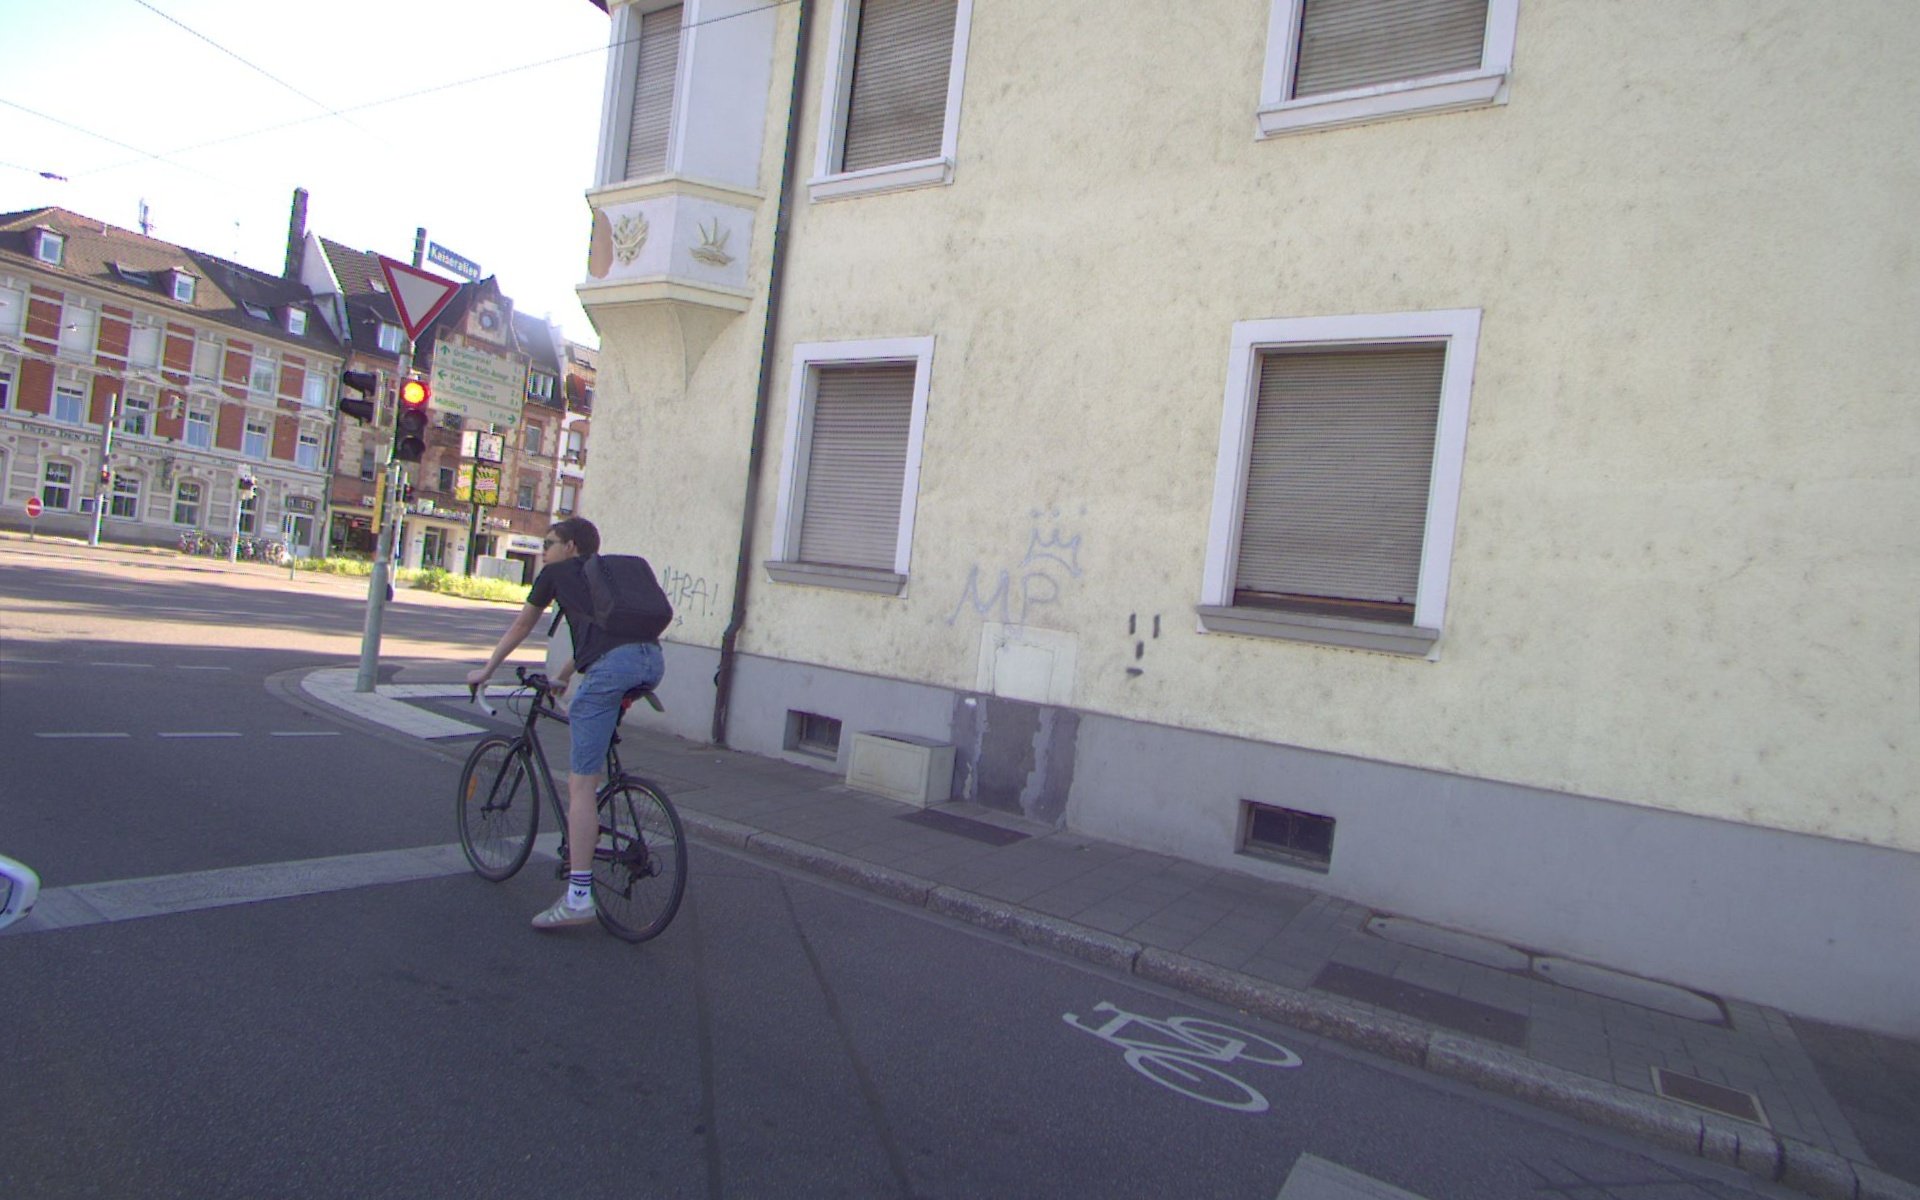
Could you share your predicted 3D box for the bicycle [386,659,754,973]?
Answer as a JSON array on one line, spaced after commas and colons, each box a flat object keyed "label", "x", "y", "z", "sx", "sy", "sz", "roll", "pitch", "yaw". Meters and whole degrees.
[{"label": "bicycle", "x": -1.791, "y": 0.873, "z": 4.510, "sx": 1.721, "sy": 0.982, "sz": 0.519, "roll": 7, "pitch": 0, "yaw": 32}]

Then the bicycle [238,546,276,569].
[{"label": "bicycle", "x": -33.493, "y": -2.028, "z": 47.894, "sx": 2.125, "sy": 0.850, "sz": 0.659, "roll": 6, "pitch": -2, "yaw": 33}]

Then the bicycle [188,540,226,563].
[{"label": "bicycle", "x": -34.556, "y": -2.237, "z": 46.146, "sx": 2.125, "sy": 0.850, "sz": 0.659, "roll": 6, "pitch": -2, "yaw": 33}]

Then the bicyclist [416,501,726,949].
[{"label": "bicyclist", "x": -1.744, "y": 0.489, "z": 4.489, "sx": 1.098, "sy": 1.722, "sz": 0.573, "roll": 7, "pitch": 0, "yaw": 32}]

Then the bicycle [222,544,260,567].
[{"label": "bicycle", "x": -33.849, "y": -2.096, "z": 47.364, "sx": 2.125, "sy": 0.850, "sz": 0.659, "roll": 6, "pitch": -2, "yaw": 33}]

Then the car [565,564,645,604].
[{"label": "car", "x": -23.016, "y": -1.007, "z": 65.326, "sx": 1.968, "sy": 2.038, "sz": 4.430, "roll": 7, "pitch": -1, "yaw": 34}]

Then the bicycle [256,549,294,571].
[{"label": "bicycle", "x": -33.106, "y": -1.948, "z": 48.599, "sx": 2.125, "sy": 0.850, "sz": 0.659, "roll": 6, "pitch": -2, "yaw": 33}]

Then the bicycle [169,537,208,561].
[{"label": "bicycle", "x": -34.873, "y": -2.305, "z": 45.479, "sx": 2.125, "sy": 0.850, "sz": 0.659, "roll": 6, "pitch": -2, "yaw": 33}]

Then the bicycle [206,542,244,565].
[{"label": "bicycle", "x": -34.183, "y": -2.163, "z": 46.767, "sx": 2.125, "sy": 0.850, "sz": 0.659, "roll": 6, "pitch": -2, "yaw": 33}]
